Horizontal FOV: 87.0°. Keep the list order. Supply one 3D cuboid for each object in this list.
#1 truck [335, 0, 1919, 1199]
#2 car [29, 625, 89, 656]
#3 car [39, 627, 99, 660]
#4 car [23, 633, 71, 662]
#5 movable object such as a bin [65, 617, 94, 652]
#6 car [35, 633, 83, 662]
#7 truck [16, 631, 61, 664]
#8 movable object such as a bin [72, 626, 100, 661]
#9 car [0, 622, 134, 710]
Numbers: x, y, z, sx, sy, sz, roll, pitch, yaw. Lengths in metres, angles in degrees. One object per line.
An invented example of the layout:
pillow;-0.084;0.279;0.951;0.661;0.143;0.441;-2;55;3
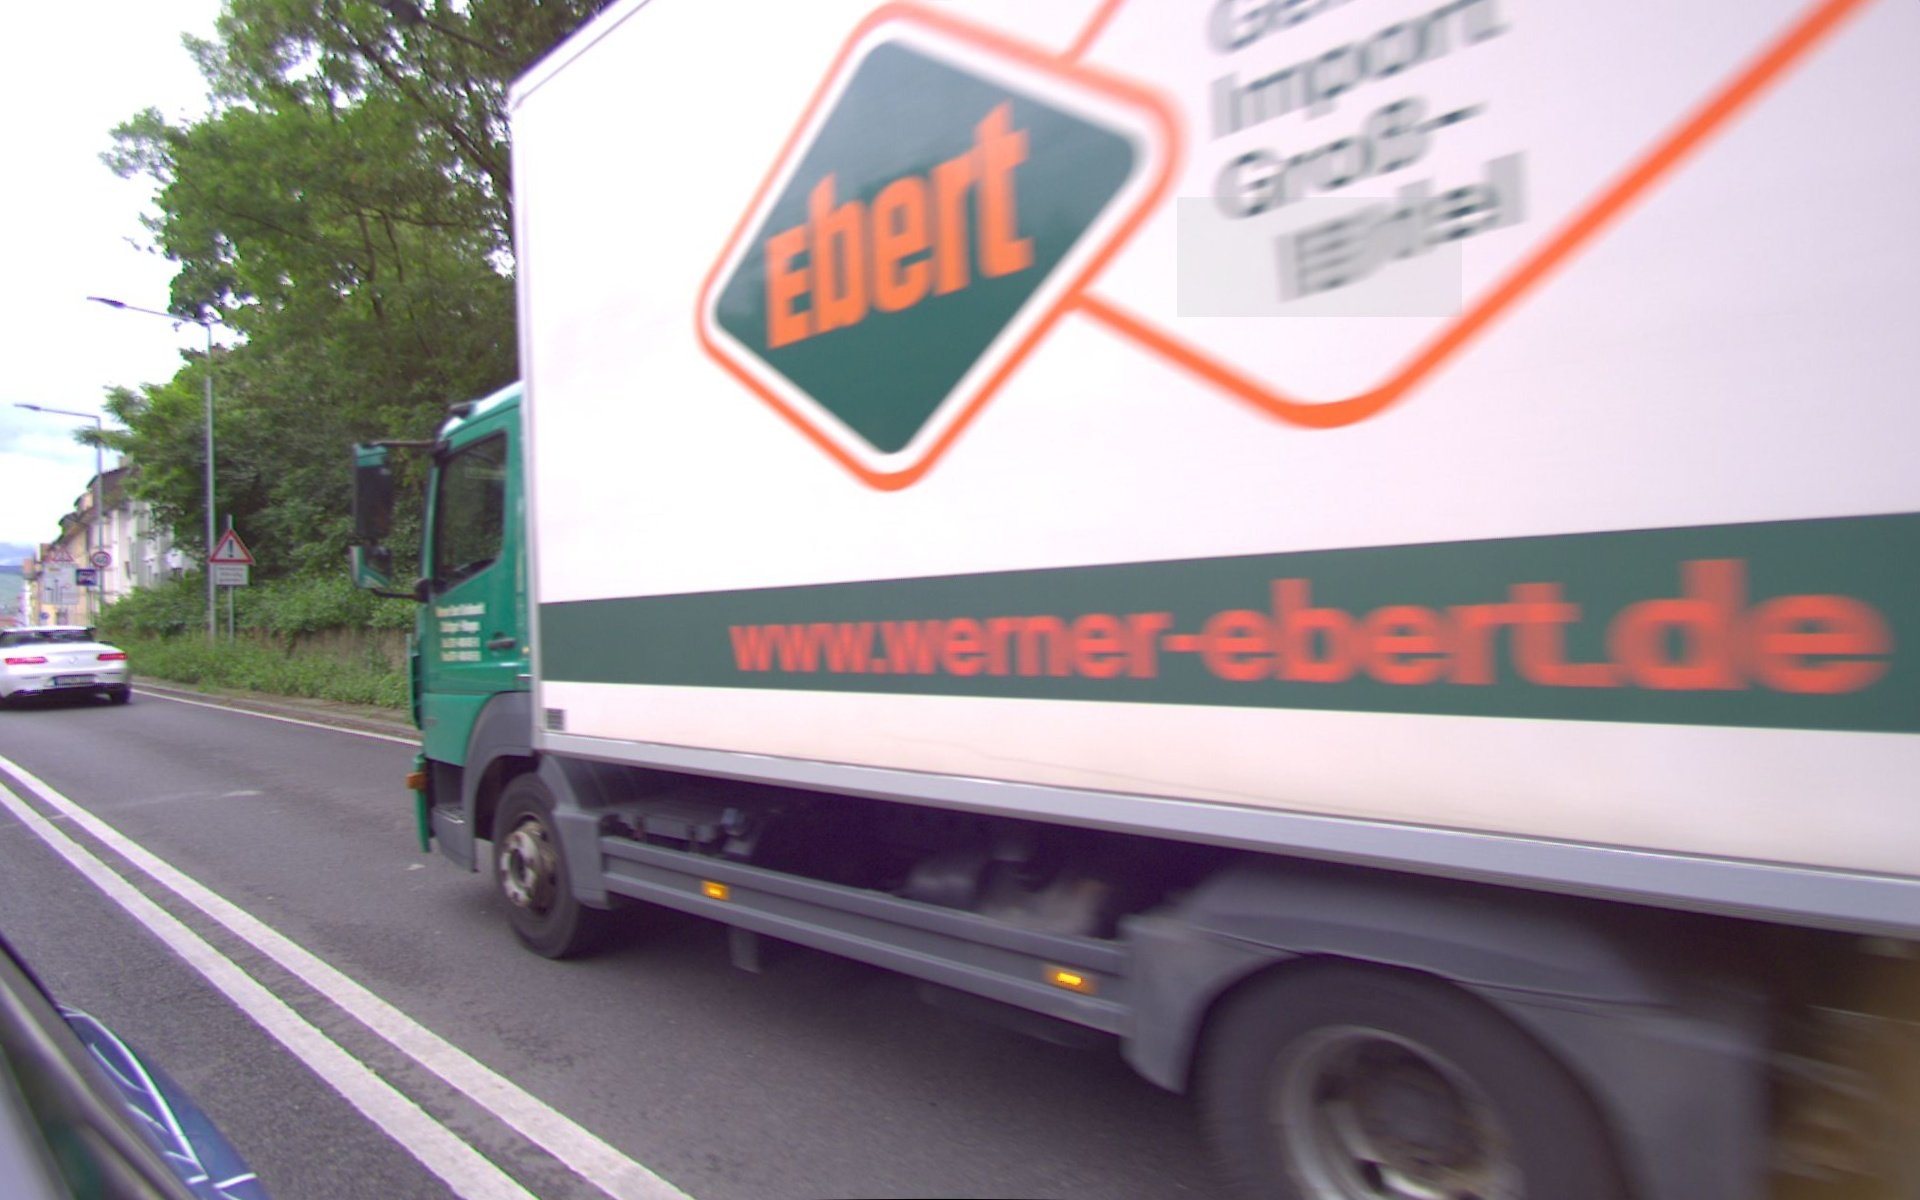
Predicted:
truck;0.712;-0.370;3.363;7.514;3.694;2.648;-1;0;41
car;-47.464;2.147;53.295;4.211;1.434;1.972;-5;-4;42
car;-42.682;2.106;48.453;1.970;1.411;4.521;0;-3;-44
car;-56.492;2.936;62.606;1.971;1.564;4.384;0;-4;-45
movable object such as a bin;-31.380;1.217;36.073;0.490;1.194;0.600;-3;1;30
car;-52.799;2.784;59.271;1.970;1.485;4.161;0;-4;-44
truck;-60.758;3.127;66.669;1.971;1.935;5.350;0;-4;-45
movable object such as a bin;-30.912;1.541;35.794;0.429;1.194;0.577;-3;1;30
car;-16.534;1.109;18.218;4.453;1.381;1.849;-1;-1;41
